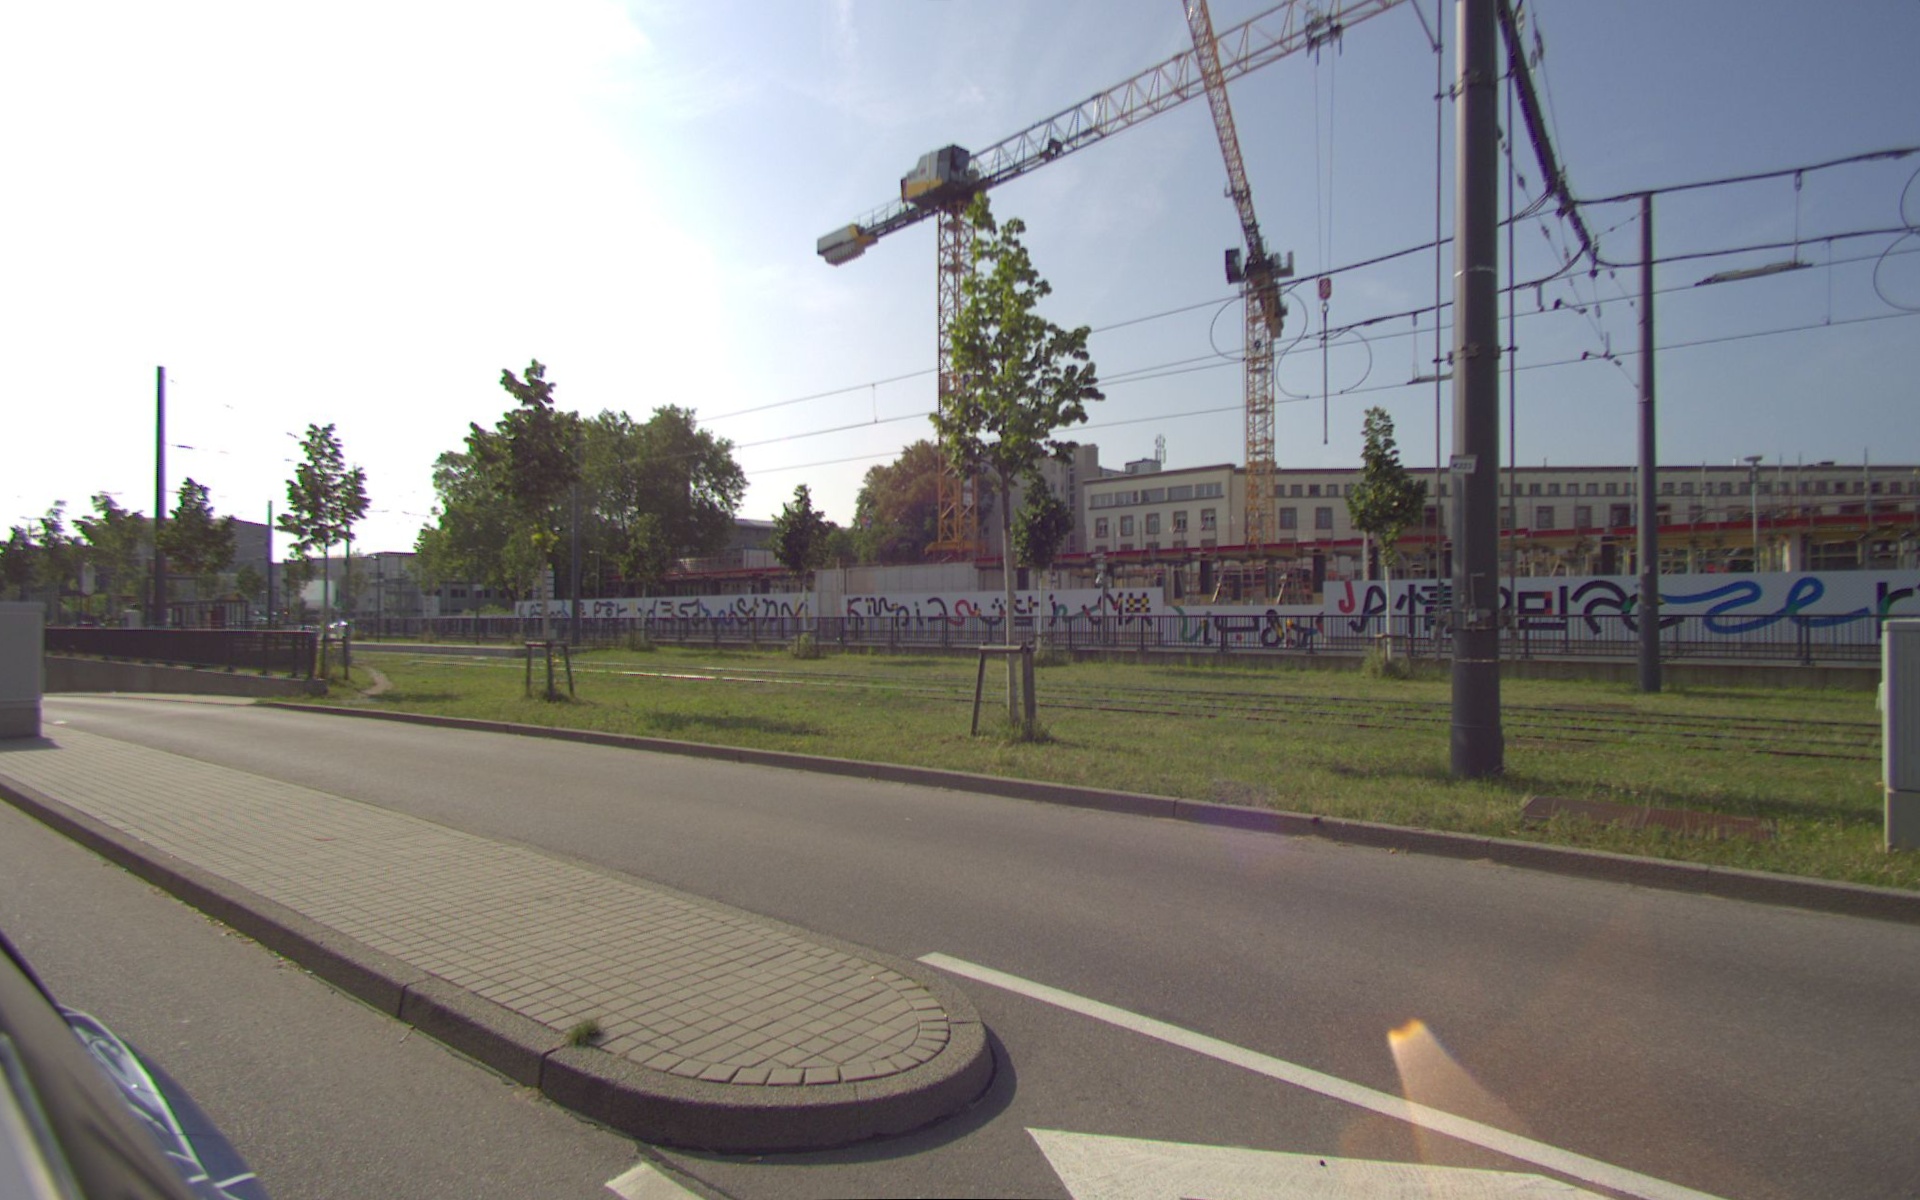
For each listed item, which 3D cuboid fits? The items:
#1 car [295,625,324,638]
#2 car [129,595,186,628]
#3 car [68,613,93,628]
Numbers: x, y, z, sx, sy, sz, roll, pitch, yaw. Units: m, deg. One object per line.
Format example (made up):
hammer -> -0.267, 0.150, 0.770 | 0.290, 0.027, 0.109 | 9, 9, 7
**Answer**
car -> -62.561, 3.026, 97.345 | 2.957, 1.211, 1.486 | -1, -1, 39
car -> -89.708, 1.327, 113.090 | 9.223, 3.539, 3.024 | -1, -1, 39
car -> -119.560, 2.776, 137.547 | 3.997, 2.029, 1.933 | -2, -2, 40
